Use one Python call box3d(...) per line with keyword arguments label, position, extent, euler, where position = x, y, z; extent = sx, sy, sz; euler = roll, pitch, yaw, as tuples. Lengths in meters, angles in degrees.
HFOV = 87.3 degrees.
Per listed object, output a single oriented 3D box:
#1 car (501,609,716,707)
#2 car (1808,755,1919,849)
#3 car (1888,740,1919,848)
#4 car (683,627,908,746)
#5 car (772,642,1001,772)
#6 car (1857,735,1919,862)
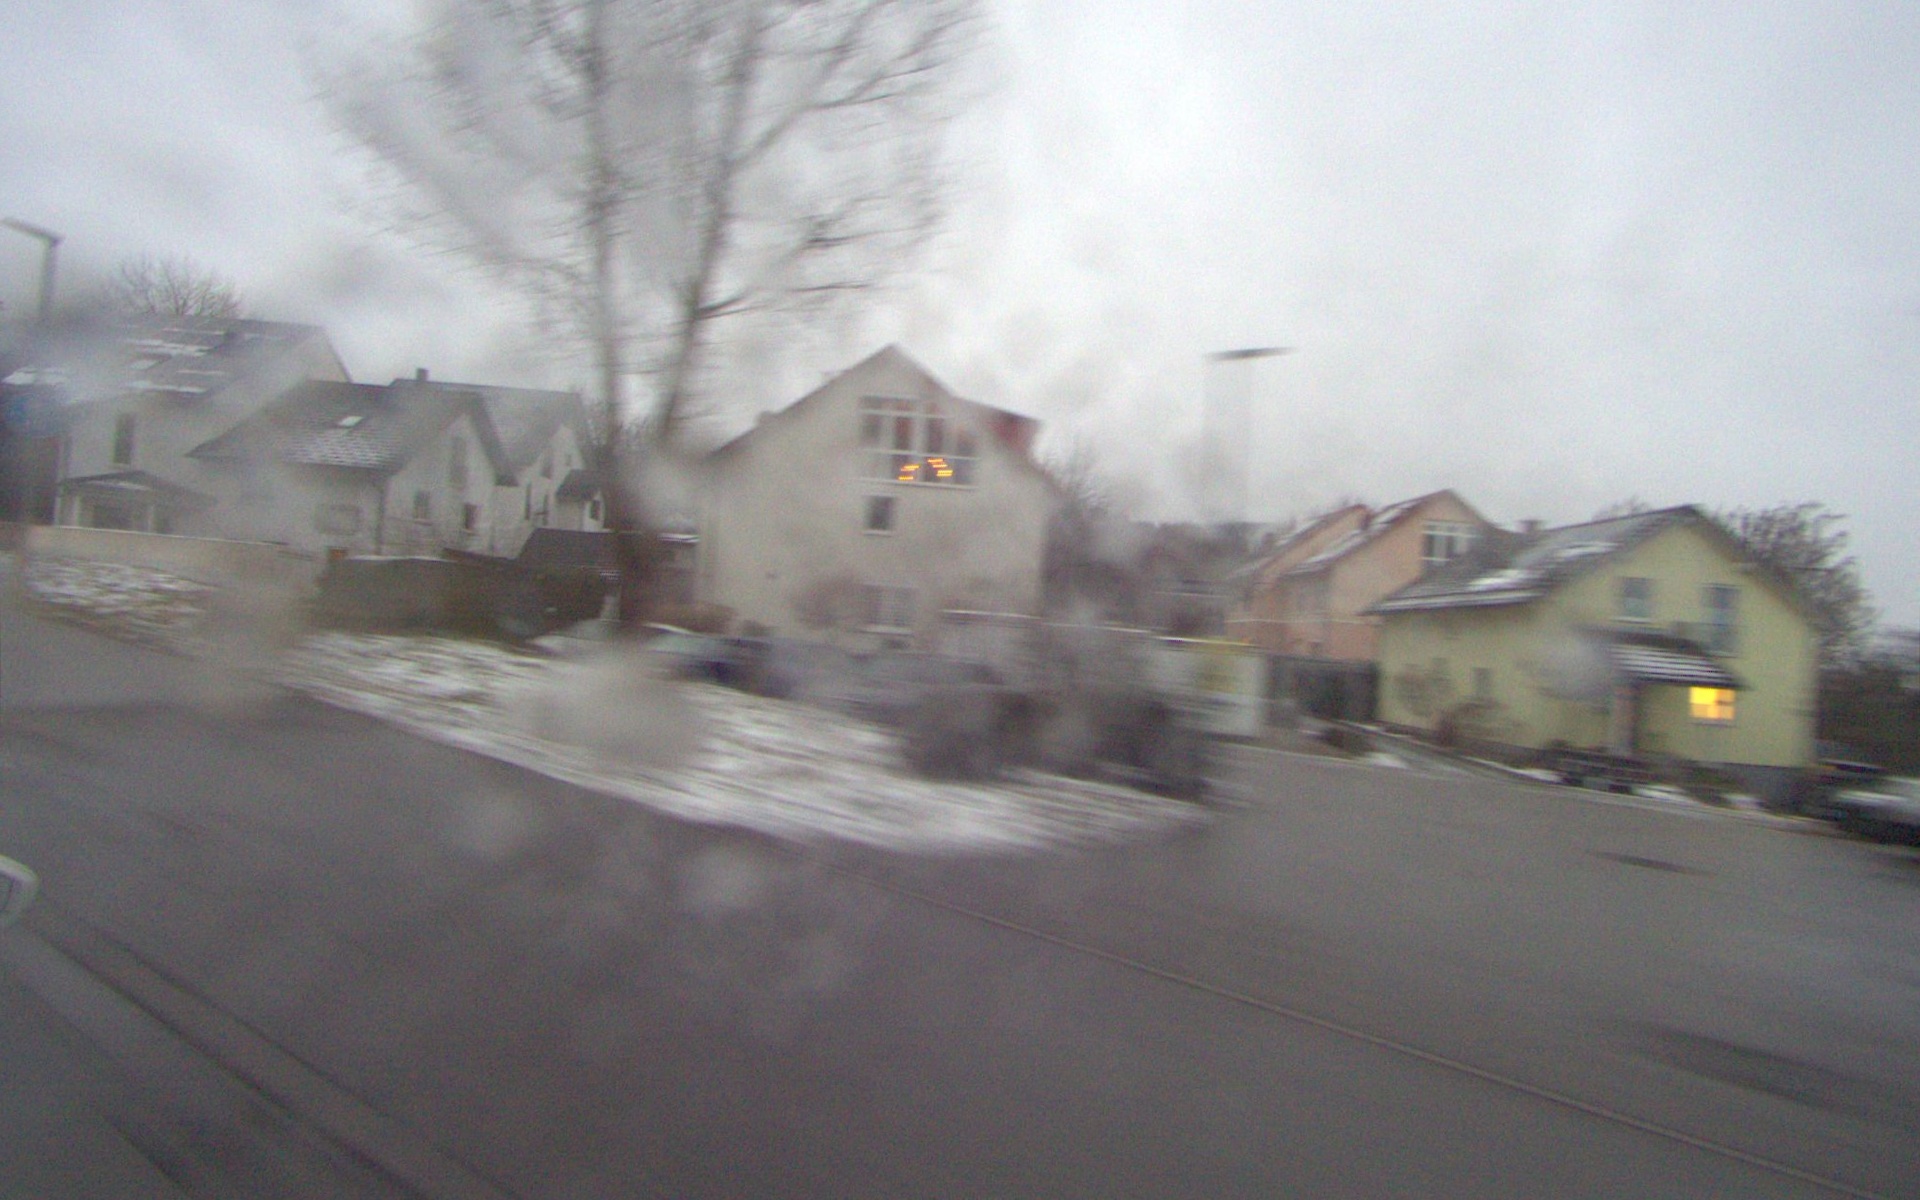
box3d(label="car", position=(-7.019, 1.205, 20.457), extent=(1.772, 1.616, 3.790), euler=(7, -1, 28))
box3d(label="car", position=(16.104, 3.373, 16.321), extent=(3.344, 1.293, 1.471), euler=(1, -3, 31))
box3d(label="car", position=(15.828, 2.929, 14.218), extent=(3.679, 1.490, 1.641), euler=(1, -3, 31))
box3d(label="car", position=(-2.706, 1.464, 17.381), extent=(1.772, 1.616, 3.790), euler=(7, -1, 28))
box3d(label="car", position=(-1.034, 1.648, 16.122), extent=(1.772, 1.616, 3.790), euler=(7, -1, 28))
box3d(label="car", position=(13.684, 2.597, 12.365), extent=(3.679, 1.490, 1.641), euler=(1, -3, 31))
